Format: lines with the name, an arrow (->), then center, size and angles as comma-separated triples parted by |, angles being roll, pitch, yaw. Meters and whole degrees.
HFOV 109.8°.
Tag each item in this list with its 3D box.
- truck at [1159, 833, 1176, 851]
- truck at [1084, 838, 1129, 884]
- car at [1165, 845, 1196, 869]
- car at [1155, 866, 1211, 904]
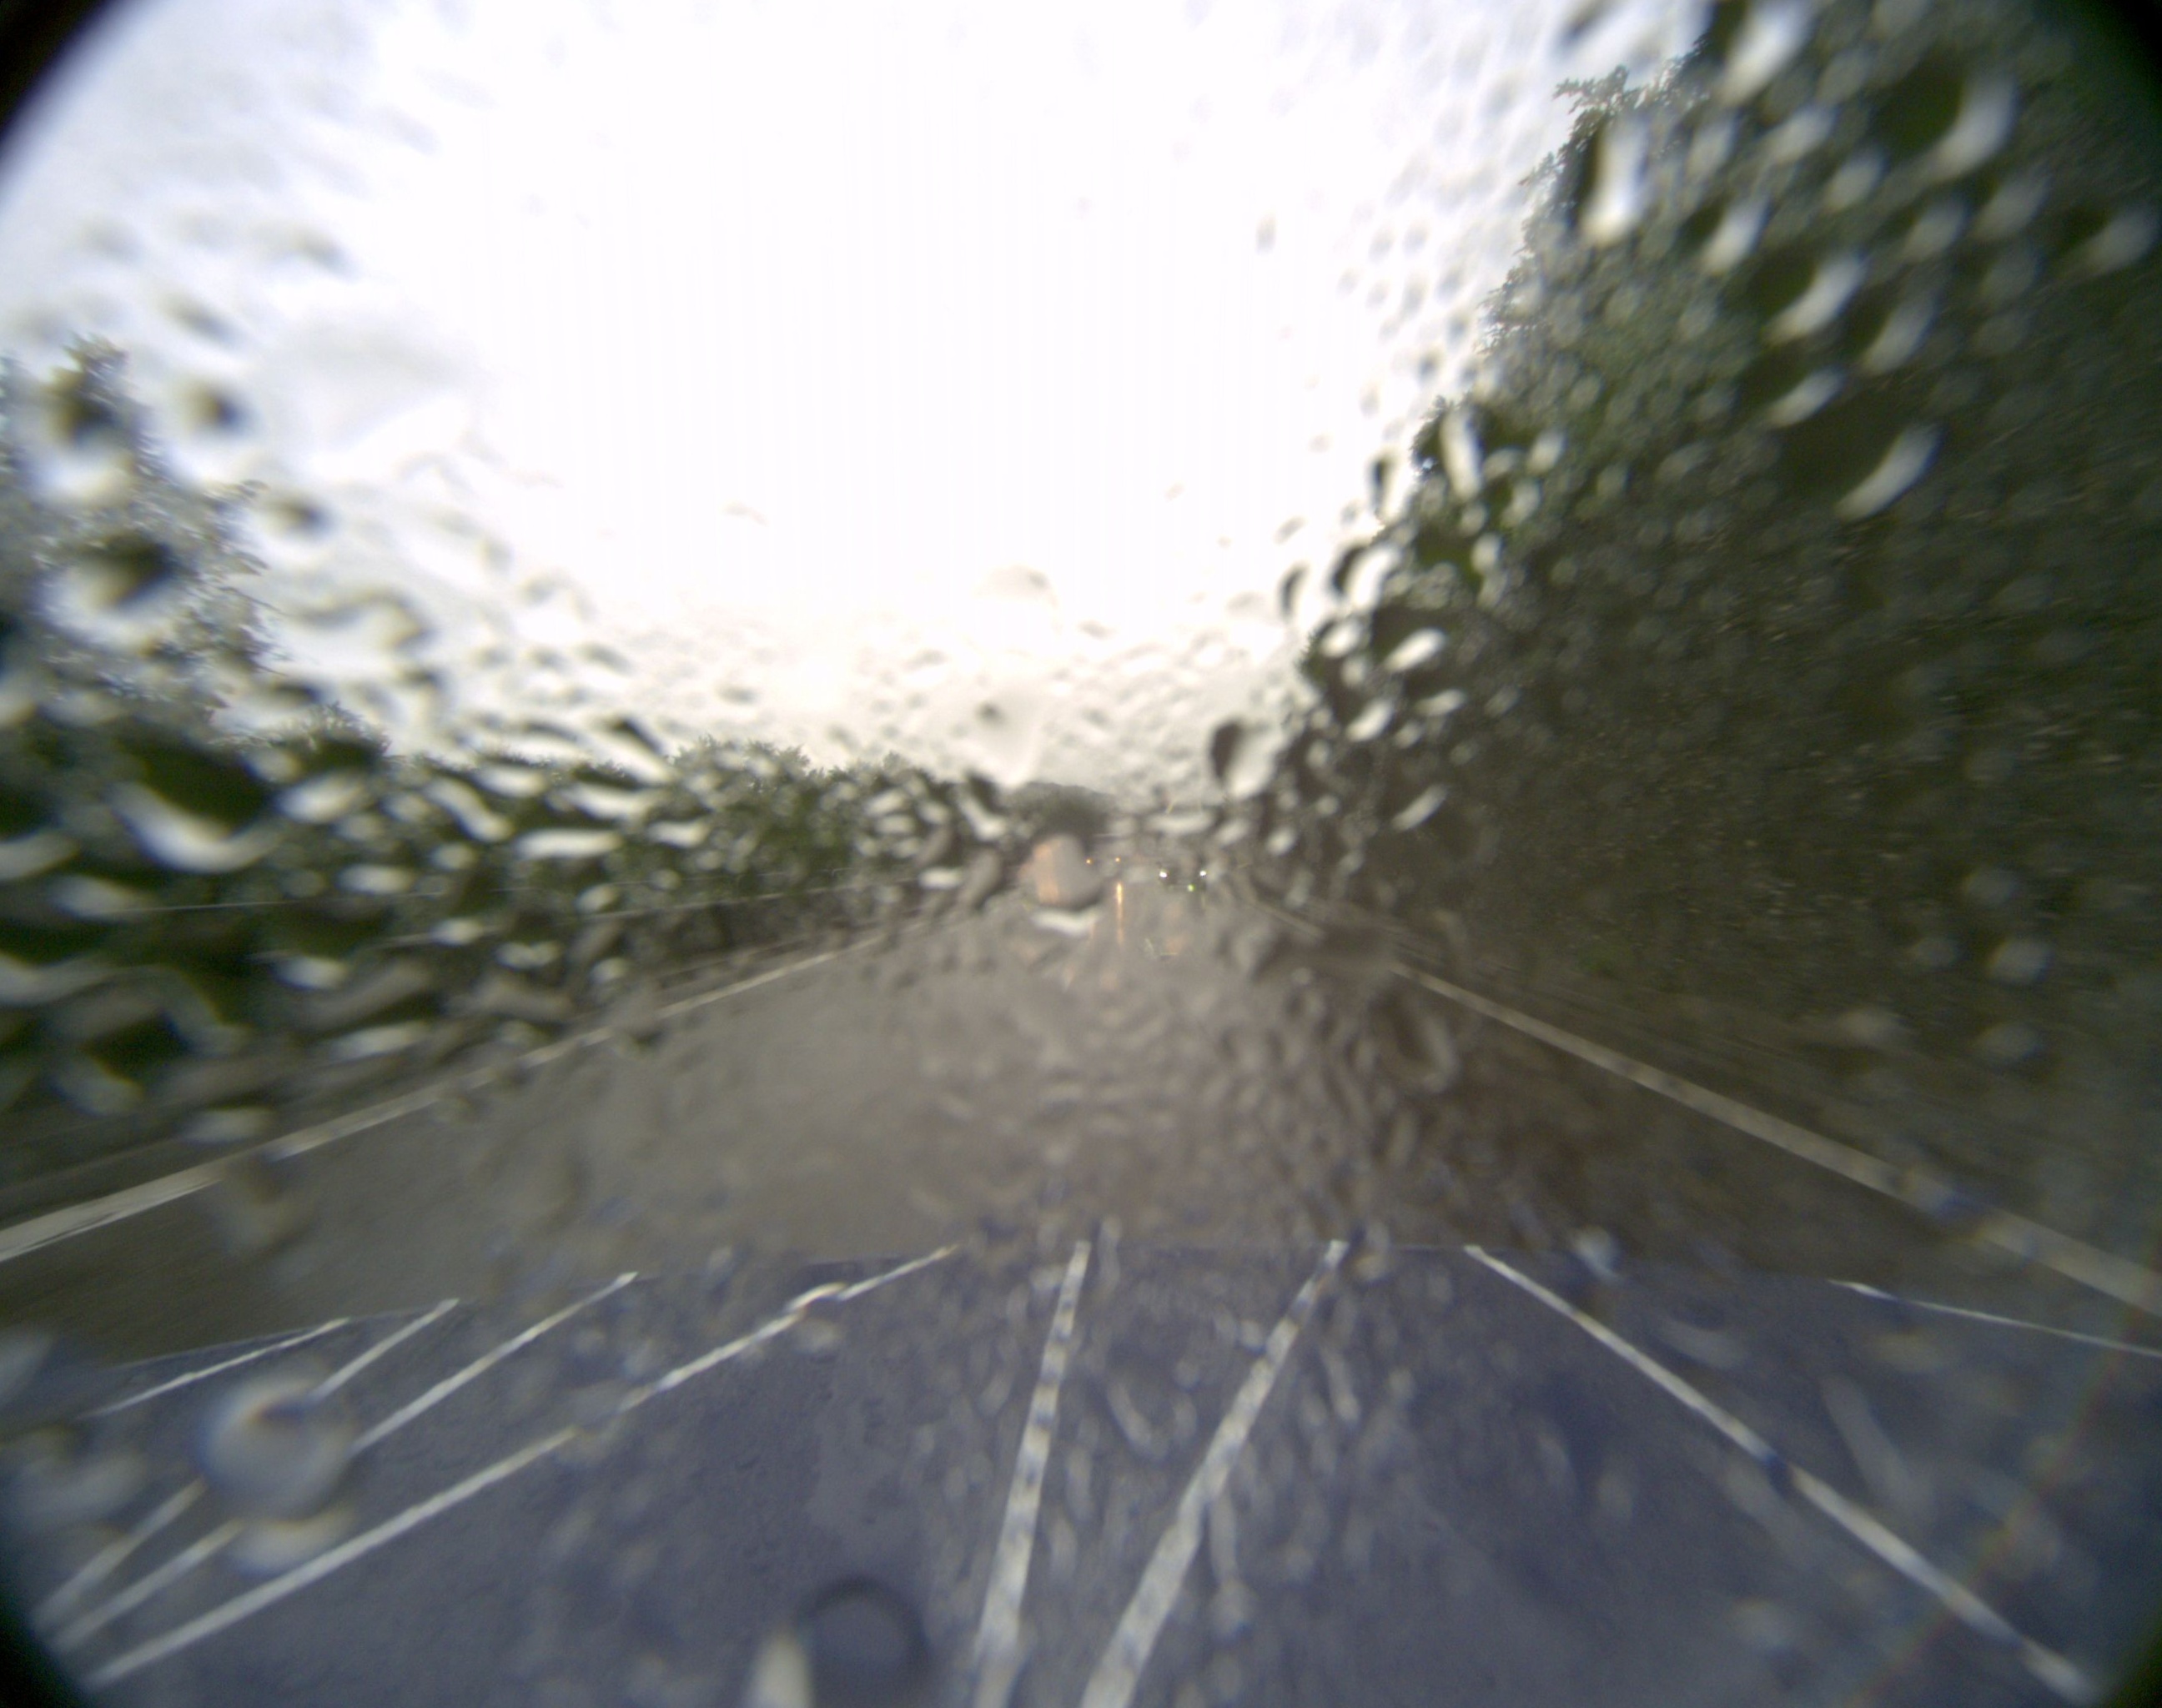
truck -> 21.168, -3.048, 186.145 | 2.807, 4.280, 6.473 | -1, 1, 19
truck -> 1.679, 0.366, 46.139 | 2.107, 2.481, 8.006 | -1, 0, 6
car -> 6.505, 0.142, 49.598 | 1.826, 1.375, 4.002 | -4, 0, 7
car -> 3.960, 1.175, 29.999 | 1.827, 1.375, 4.001 | 0, -1, 3
